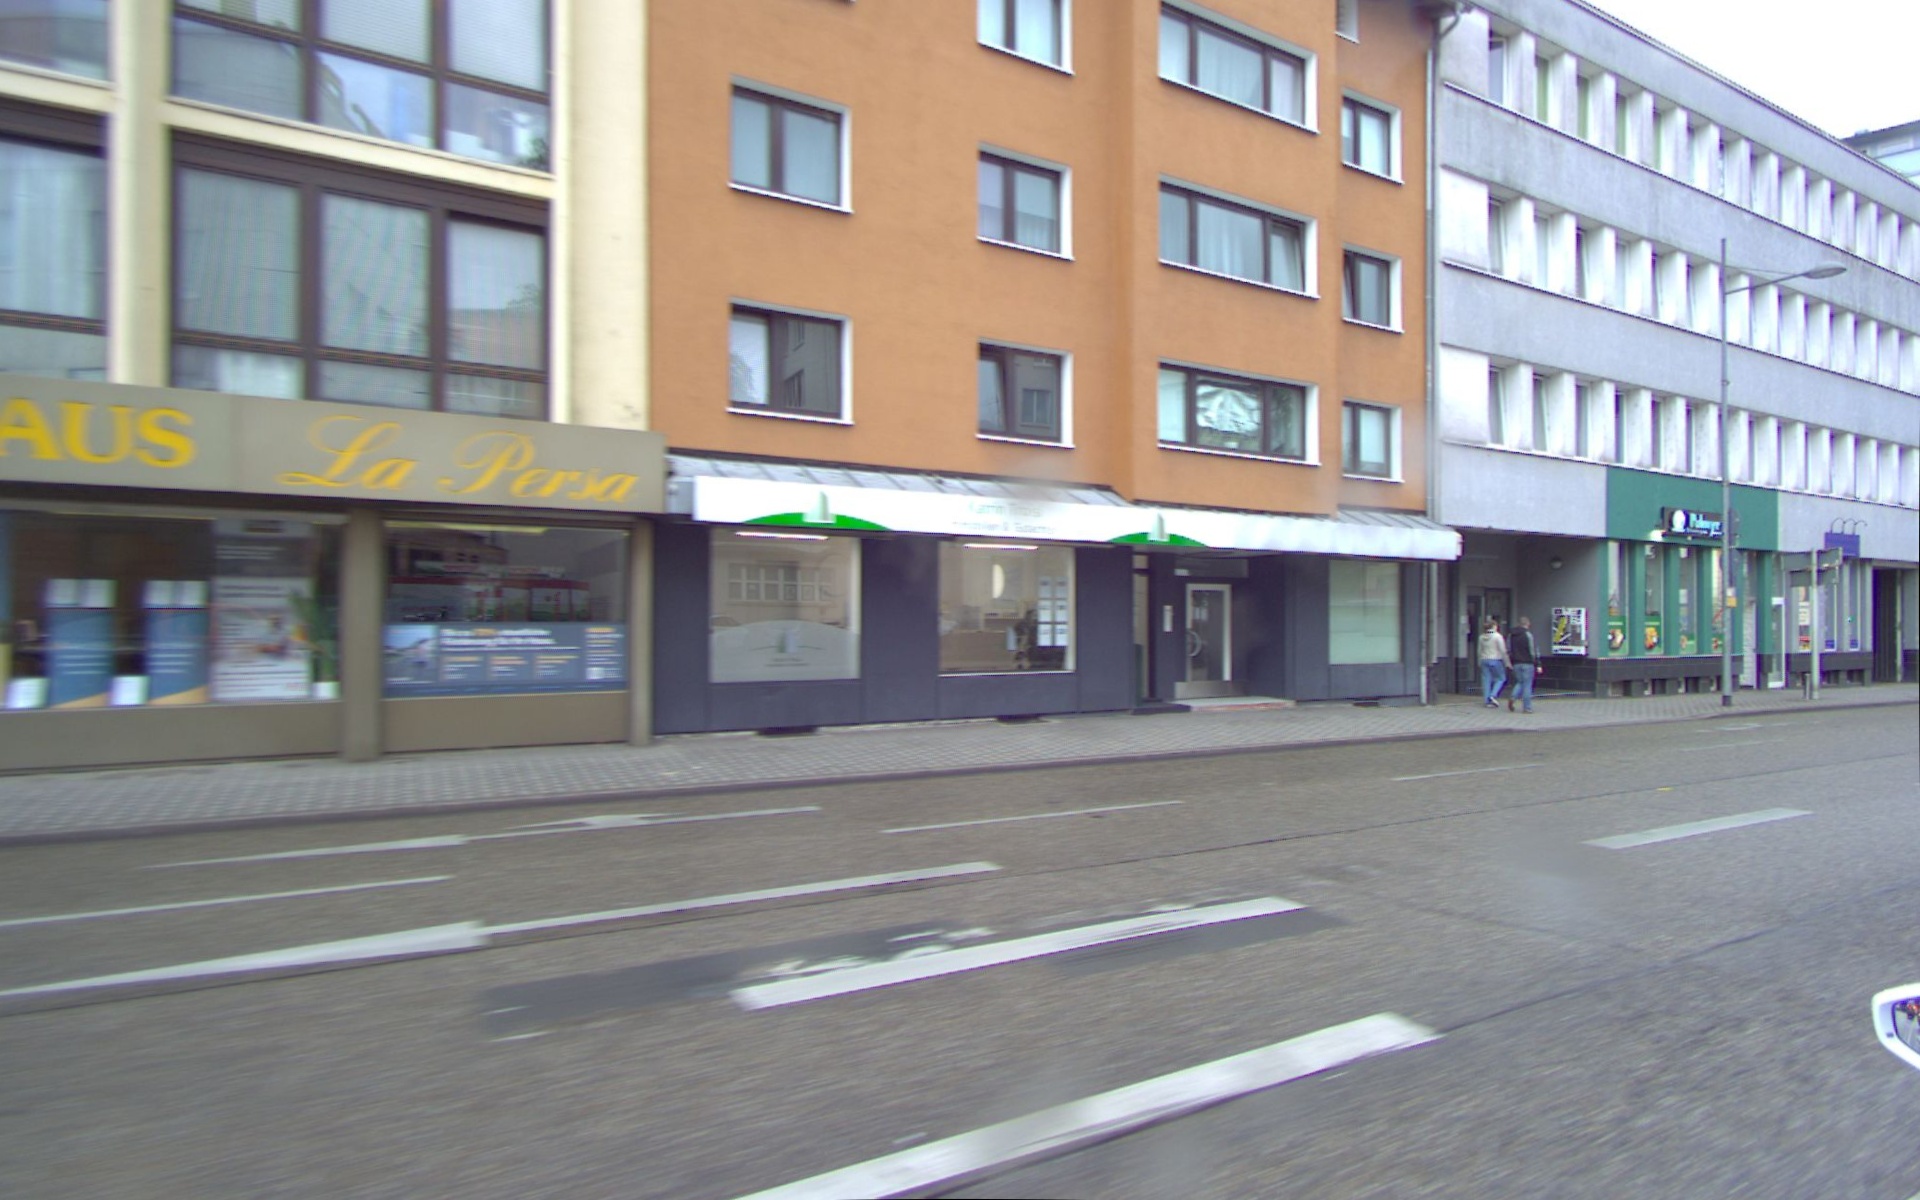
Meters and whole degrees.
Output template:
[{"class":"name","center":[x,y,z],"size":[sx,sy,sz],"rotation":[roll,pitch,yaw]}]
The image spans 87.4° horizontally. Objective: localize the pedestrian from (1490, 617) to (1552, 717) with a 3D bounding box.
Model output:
[{"class":"pedestrian","center":[10.655,1.255,19.078],"size":[0.816,1.812,0.572],"rotation":[1,3,-29]}]

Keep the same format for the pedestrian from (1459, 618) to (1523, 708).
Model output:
[{"class":"pedestrian","center":[10.422,1.224,19.723],"size":[0.897,1.698,0.627],"rotation":[1,3,-30]}]
